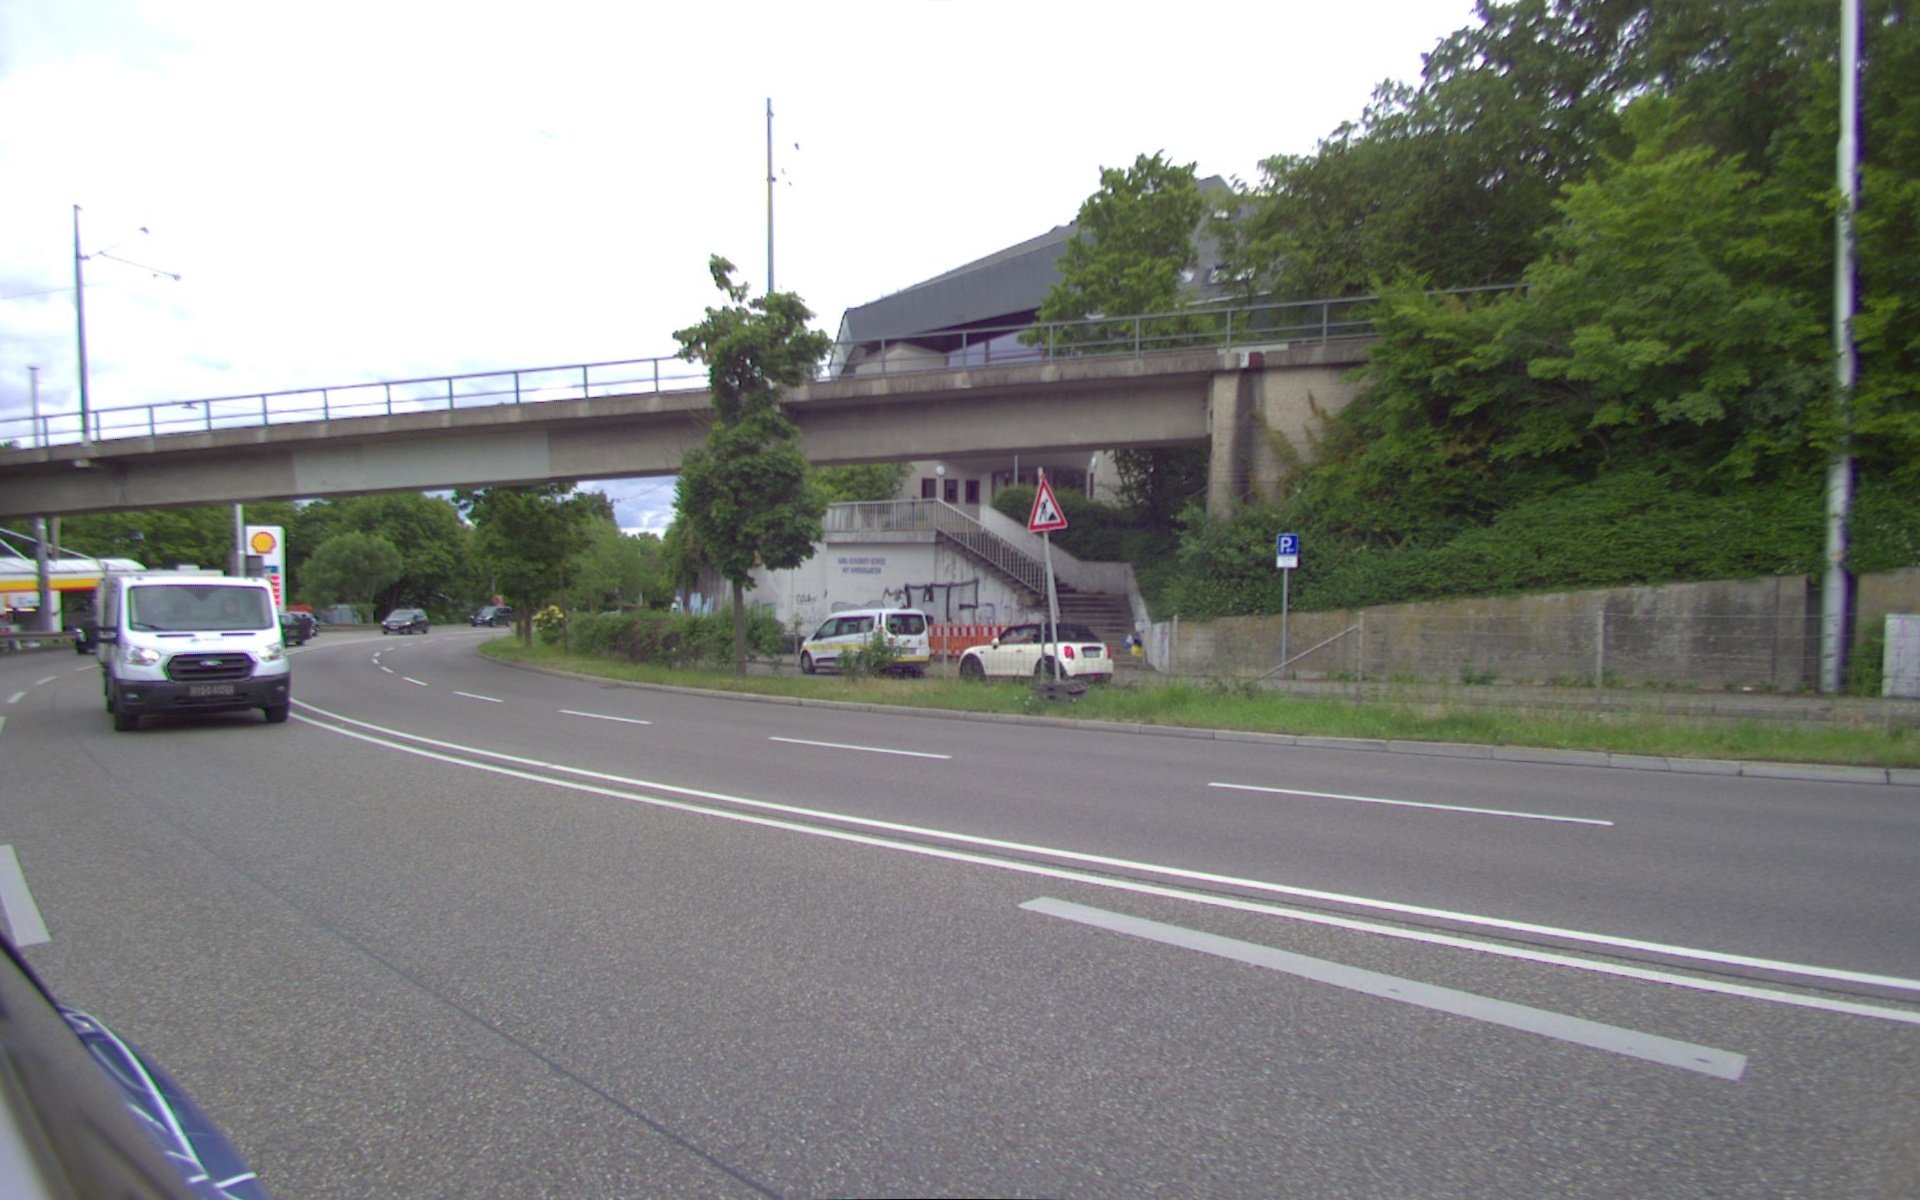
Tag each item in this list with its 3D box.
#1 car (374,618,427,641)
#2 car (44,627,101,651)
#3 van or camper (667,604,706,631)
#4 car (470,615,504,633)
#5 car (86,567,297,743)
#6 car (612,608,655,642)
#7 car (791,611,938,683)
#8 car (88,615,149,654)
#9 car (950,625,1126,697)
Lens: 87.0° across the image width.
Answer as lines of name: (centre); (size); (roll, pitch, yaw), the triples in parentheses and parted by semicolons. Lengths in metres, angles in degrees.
car: (-37.045, 1.928, 67.046); (1.704, 1.489, 4.006); (-1, -1, -7)
car: (-64.938, 2.846, 74.044); (4.083, 1.446, 1.709); (3, 2, 26)
van or camper: (-26.129, 1.656, 96.851); (1.973, 2.491, 5.705); (1, -1, 3)
car: (-42.578, 2.150, 91.096); (1.703, 1.489, 4.007); (-1, -1, -8)
car: (-12.032, 0.753, 15.624); (1.970, 2.190, 6.275); (2, -2, -43)
car: (-23.828, 1.793, 74.100); (2.238, 2.290, 6.341); (1, -1, -11)
car: (-2.680, 1.231, 27.522); (1.744, 1.799, 4.472); (3, -3, -40)
car: (-32.419, 1.308, 39.072); (1.707, 1.421, 4.008); (0, -1, -38)
car: (1.648, 1.279, 22.458); (1.744, 1.430, 3.810); (1, -2, -40)
